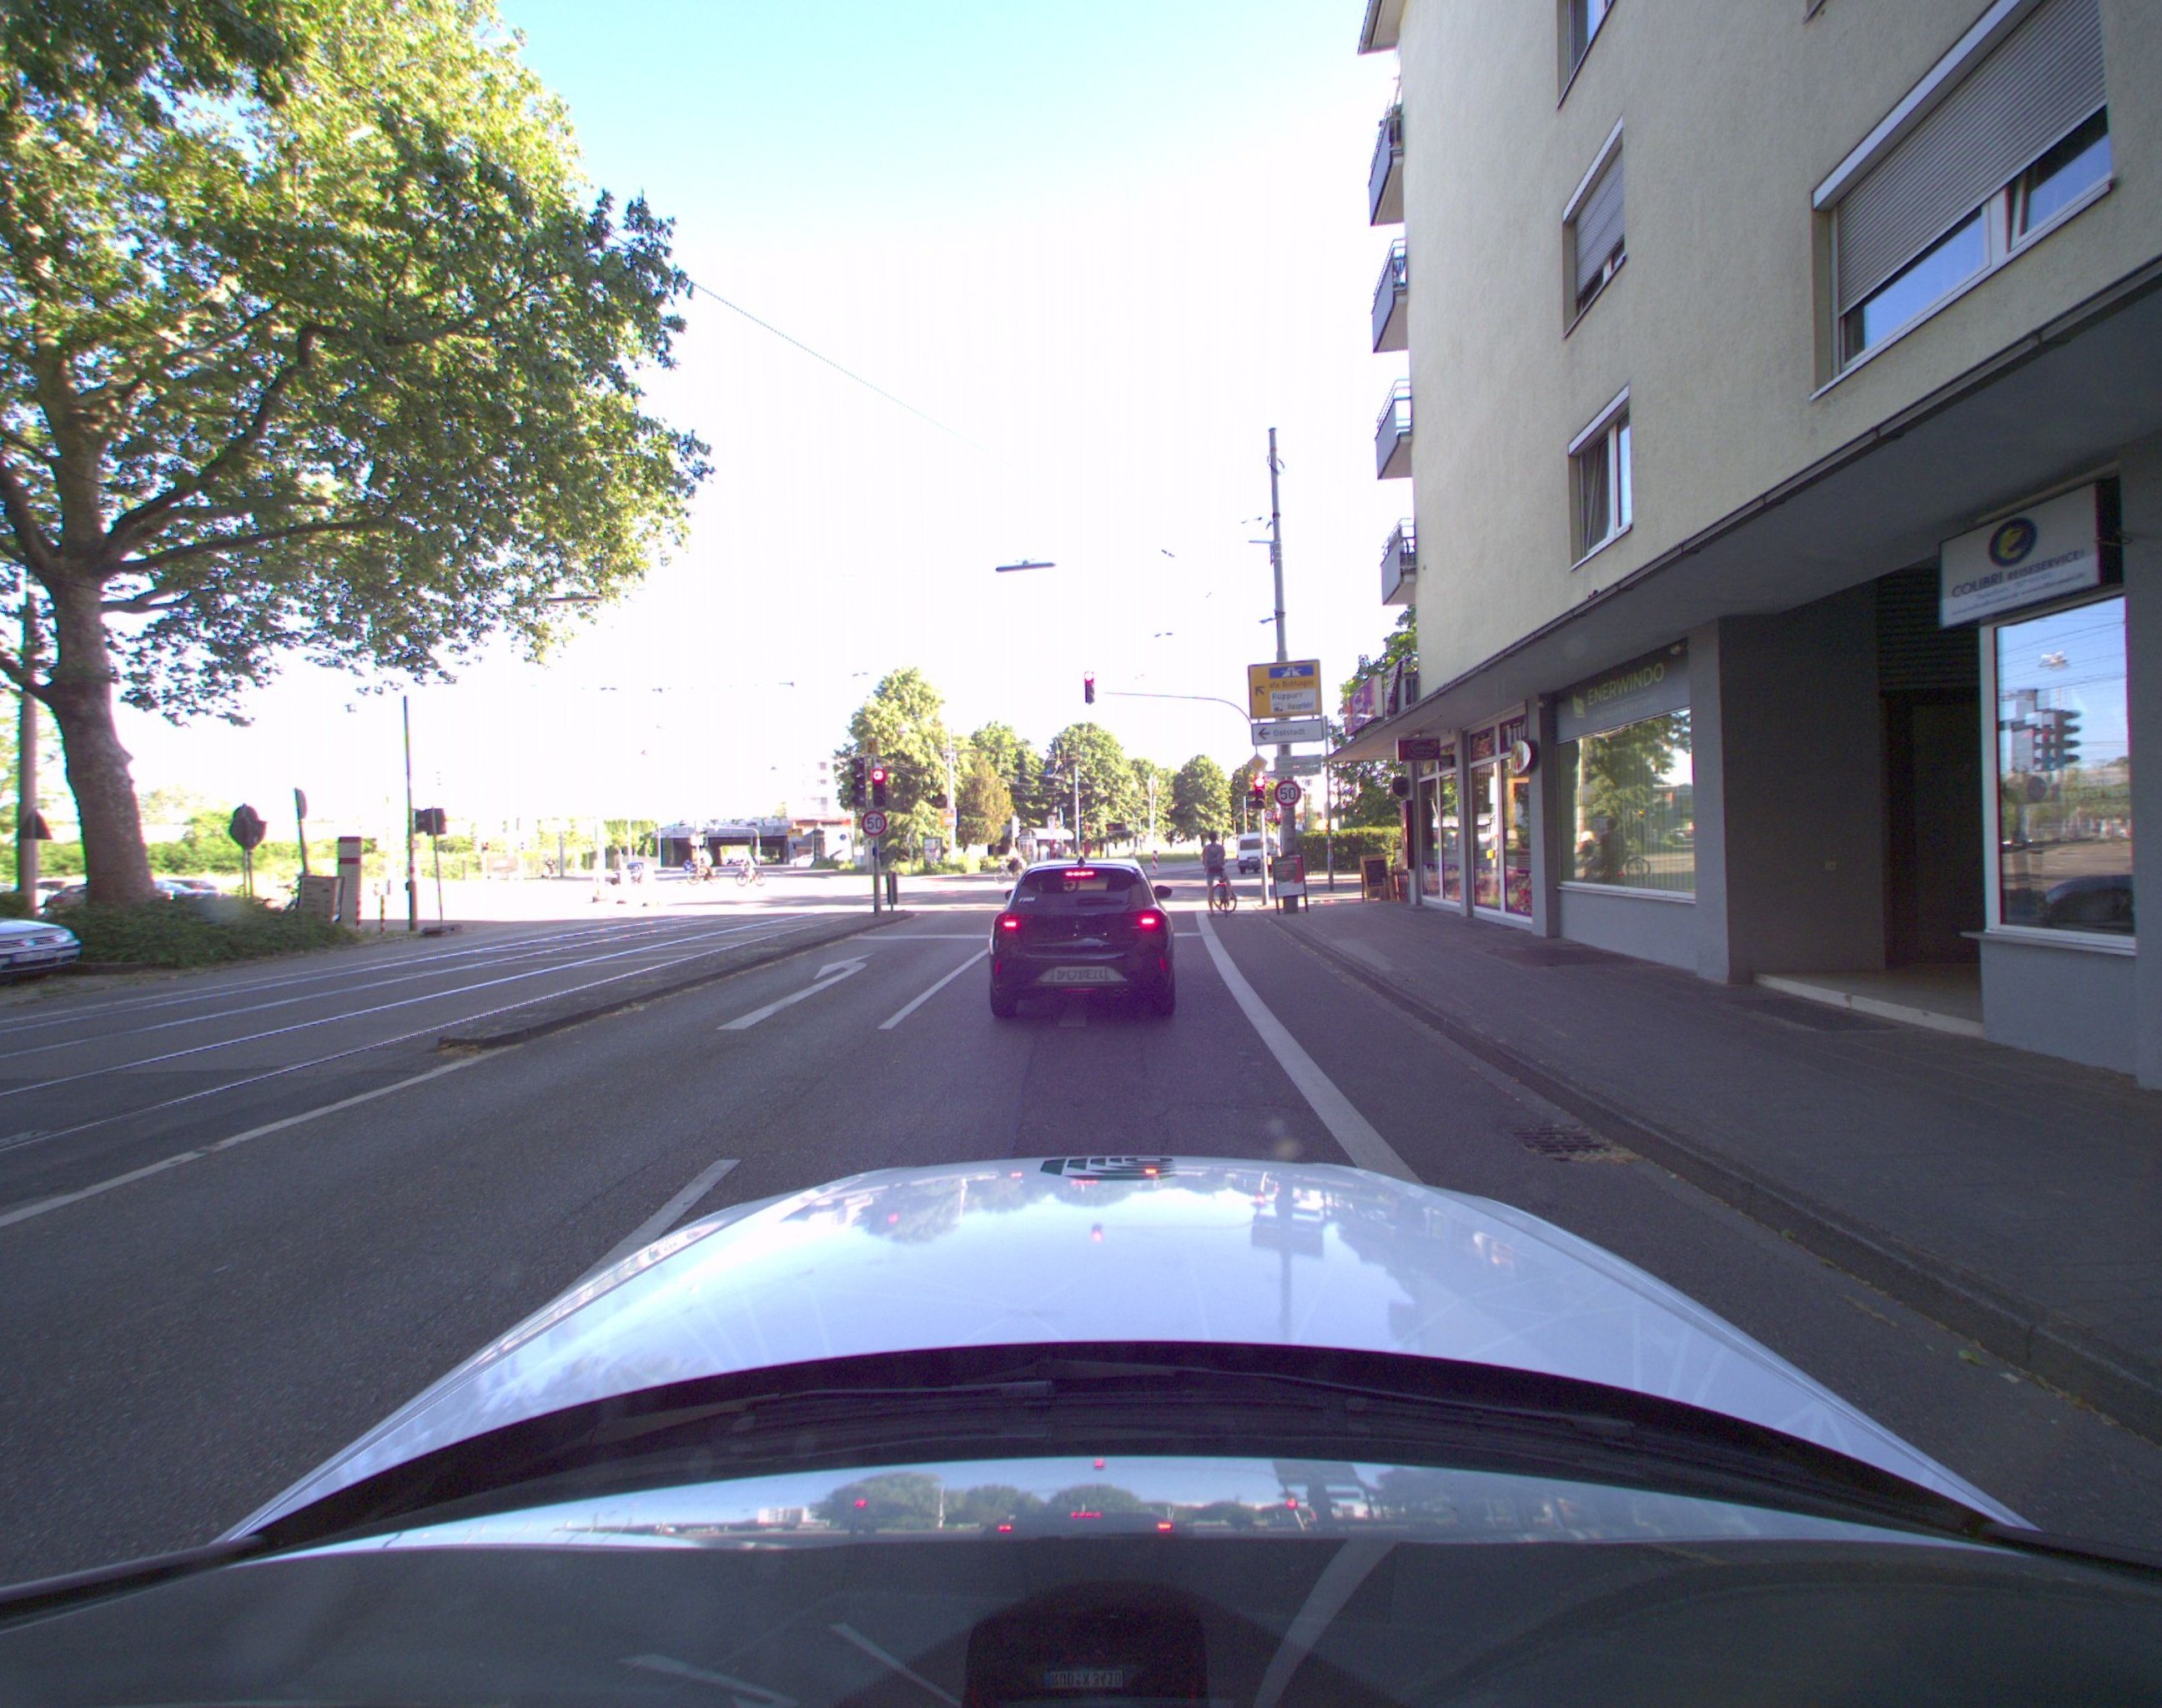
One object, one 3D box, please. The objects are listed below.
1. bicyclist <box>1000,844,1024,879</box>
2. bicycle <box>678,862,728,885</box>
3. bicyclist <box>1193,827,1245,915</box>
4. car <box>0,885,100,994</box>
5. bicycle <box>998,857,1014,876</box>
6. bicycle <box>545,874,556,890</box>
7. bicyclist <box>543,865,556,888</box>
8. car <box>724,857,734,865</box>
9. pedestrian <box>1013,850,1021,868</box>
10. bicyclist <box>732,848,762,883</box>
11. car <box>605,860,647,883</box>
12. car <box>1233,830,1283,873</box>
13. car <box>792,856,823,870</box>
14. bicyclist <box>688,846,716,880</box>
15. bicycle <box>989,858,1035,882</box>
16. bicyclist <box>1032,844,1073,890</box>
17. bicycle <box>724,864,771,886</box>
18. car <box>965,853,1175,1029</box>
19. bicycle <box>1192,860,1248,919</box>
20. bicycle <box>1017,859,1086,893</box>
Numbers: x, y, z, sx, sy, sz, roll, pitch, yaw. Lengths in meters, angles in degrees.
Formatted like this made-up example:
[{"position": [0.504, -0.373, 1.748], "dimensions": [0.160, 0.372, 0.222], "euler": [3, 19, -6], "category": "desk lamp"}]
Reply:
[{"position": [-3.197, 0.341, 37.656], "dimensions": [0.853, 1.595, 0.653], "euler": [-2, 0, 23], "category": "bicyclist"}, {"position": [-19.270, 1.007, 41.536], "dimensions": [2.276, 1.084, 0.804], "euler": [-2, 0, 14], "category": "bicycle"}, {"position": [2.995, 0.358, 17.790], "dimensions": [0.938, 1.851, 0.864], "euler": [-2, 0, 1], "category": "bicyclist"}, {"position": [-16.955, 1.198, 11.362], "dimensions": [4.497, 1.429, 1.676], "euler": [0, 0, 0], "category": "car"}, {"position": [-4.303, 0.722, 46.738], "dimensions": [0.603, 1.031, 1.983], "euler": [-2, 0, 2], "category": "bicycle"}, {"position": [-37.475, 1.999, 57.535], "dimensions": [0.585, 1.060, 2.022], "euler": [-2, 0, -30], "category": "bicycle"}, {"position": [-37.513, 1.564, 57.480], "dimensions": [0.639, 1.563, 0.825], "euler": [-2, 0, -31], "category": "bicyclist"}, {"position": [-84.533, 1.744, 195.518], "dimensions": [2.223, 1.823, 4.114], "euler": [-2, 0, -24], "category": "car"}, {"position": [-5.713, 0.448, 72.900], "dimensions": [0.633, 1.630, 0.573], "euler": [0, -1, 9], "category": "pedestrian"}, {"position": [-15.870, 0.541, 38.719], "dimensions": [1.003, 1.570, 0.802], "euler": [-2, 0, 13], "category": "bicyclist"}, {"position": [-31.284, 1.155, 56.101], "dimensions": [1.830, 1.519, 3.870], "euler": [0, 0, -18], "category": "car"}, {"position": [10.148, -0.159, 46.383], "dimensions": [2.046, 2.248, 4.912], "euler": [-2, 0, 20], "category": "car"}, {"position": [-39.692, 1.315, 118.073], "dimensions": [4.188, 1.805, 1.725], "euler": [-2, 0, -19], "category": "car"}, {"position": [-19.337, 0.451, 41.546], "dimensions": [0.920, 1.707, 0.878], "euler": [-2, 0, 14], "category": "bicyclist"}, {"position": [-3.193, 0.741, 37.689], "dimensions": [2.036, 1.094, 0.596], "euler": [-2, 0, 23], "category": "bicycle"}, {"position": [-0.979, 0.428, 27.998], "dimensions": [1.117, 1.520, 0.915], "euler": [-2, 0, -21], "category": "bicyclist"}, {"position": [-15.856, 0.999, 38.721], "dimensions": [2.044, 0.984, 0.675], "euler": [-2, 0, 12], "category": "bicycle"}, {"position": [-0.014, 0.718, 8.845], "dimensions": [1.720, 1.429, 4.189], "euler": [-1, 0, 2], "category": "car"}, {"position": [3.015, 0.731, 17.865], "dimensions": [0.857, 1.153, 2.172], "euler": [-2, 0, 1], "category": "bicycle"}, {"position": [-1.011, 0.742, 28.013], "dimensions": [2.199, 1.033, 0.828], "euler": [-2, 0, -21], "category": "bicycle"}]
